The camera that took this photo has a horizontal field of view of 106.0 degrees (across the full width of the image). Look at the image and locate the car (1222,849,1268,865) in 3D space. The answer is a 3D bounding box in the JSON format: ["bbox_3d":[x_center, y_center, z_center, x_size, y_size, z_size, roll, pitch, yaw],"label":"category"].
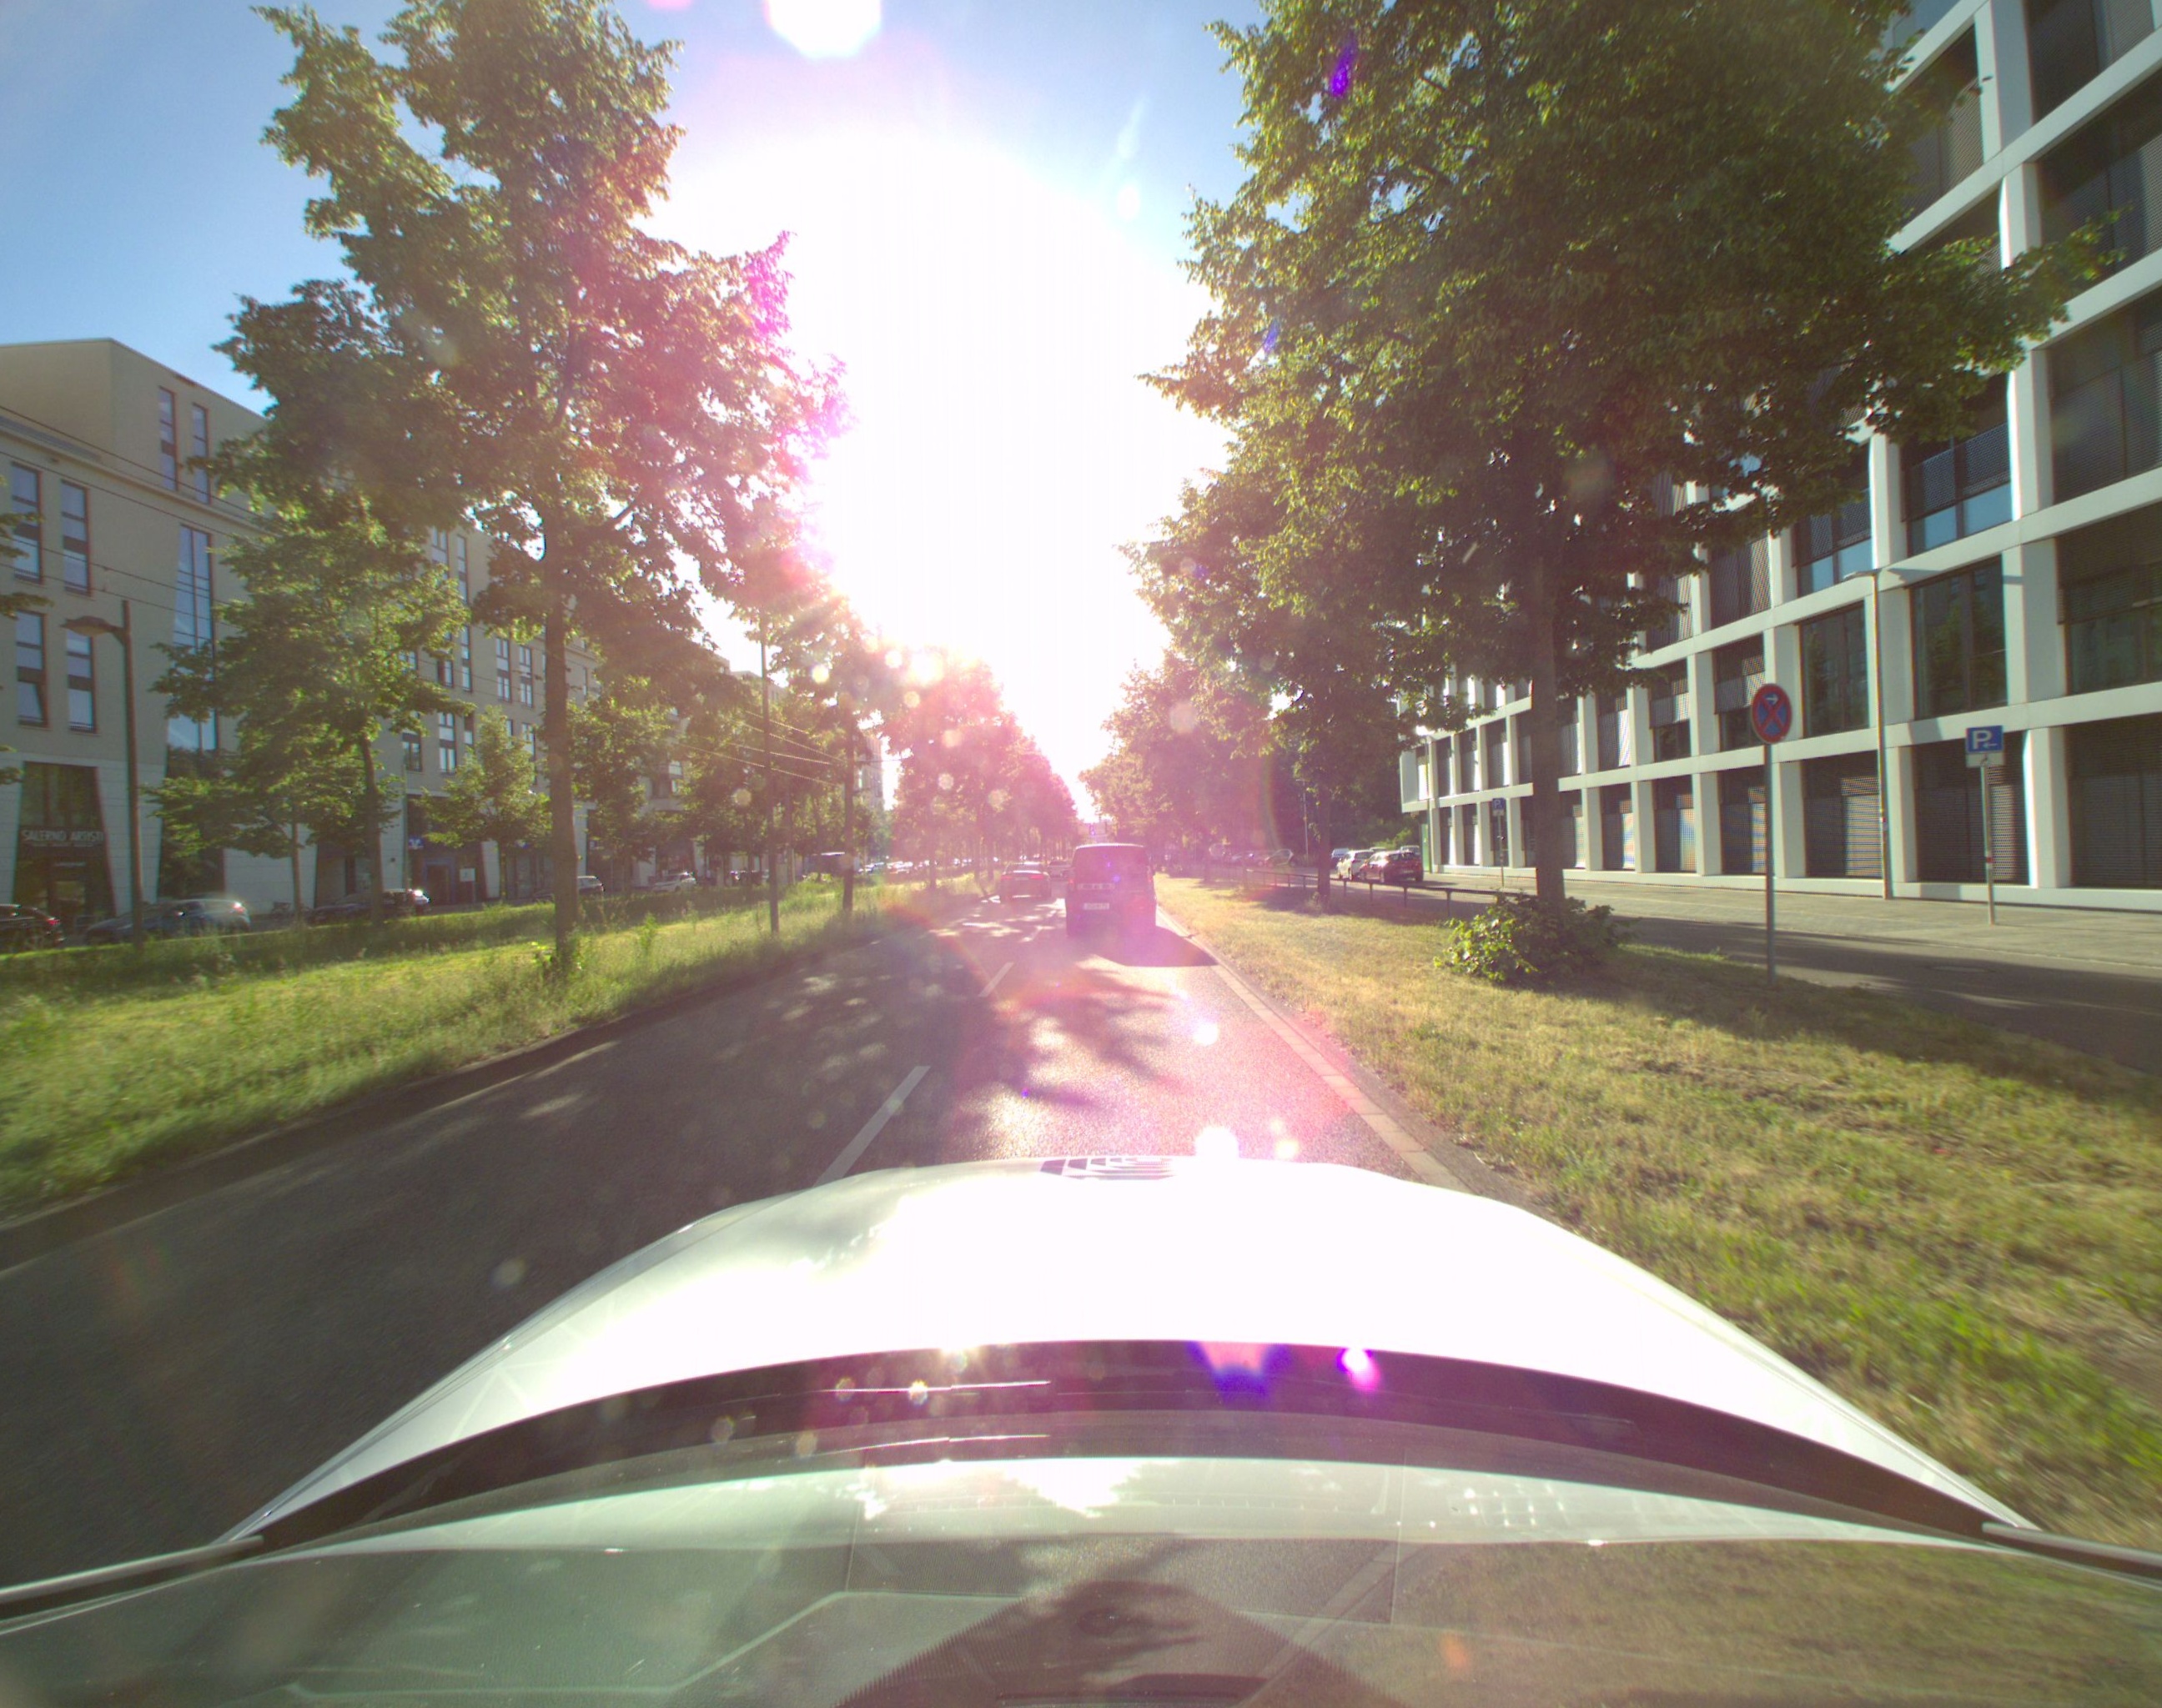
[{"bbox_3d":[18.294,0.351,90.819,4.702,1.406,2.001,-5,0,1],"label":"car"}]

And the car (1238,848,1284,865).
[{"bbox_3d":[18.093,0.278,81.820,4.180,1.498,1.781,-3,0,-2],"label":"car"}]

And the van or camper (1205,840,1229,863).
[{"bbox_3d":[17.869,-0.289,107.484,1.988,2.731,4.961,-5,0,-1],"label":"van or camper"}]

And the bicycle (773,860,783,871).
[{"bbox_3d":[-35.846,1.301,96.277,0.596,1.281,1.608,0,-1,-1],"label":"bicycle"}]

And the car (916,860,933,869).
[{"bbox_3d":[-27.626,1.825,143.769,1.950,1.441,4.267,0,0,2],"label":"car"}]

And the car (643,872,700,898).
[{"bbox_3d":[-30.016,2.238,59.862,1.988,1.729,4.336,0,-1,-1],"label":"car"}]

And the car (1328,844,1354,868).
[{"bbox_3d":[19.802,0.130,61.872,1.579,1.545,3.840,-3,1,21],"label":"car"}]

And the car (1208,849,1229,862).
[{"bbox_3d":[17.117,0.195,101.590,1.986,1.574,4.001,0,-1,1],"label":"car"}]

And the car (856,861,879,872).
[{"bbox_3d":[-28.716,1.689,109.642,1.988,1.441,4.777,0,0,-1],"label":"car"}]

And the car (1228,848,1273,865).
[{"bbox_3d":[18.250,0.251,87.913,4.361,1.411,2.002,-6,0,3],"label":"car"}]

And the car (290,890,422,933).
[{"bbox_3d":[-30.462,2.375,34.423,1.719,1.413,4.334,-2,0,-2],"label":"car"}]

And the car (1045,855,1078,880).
[{"bbox_3d":[-1.297,0.887,55.844,1.986,1.618,4.001,0,-1,2],"label":"car"}]

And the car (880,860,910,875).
[{"bbox_3d":[-18.585,1.352,81.411,1.987,1.441,4.455,0,0,0],"label":"car"}]

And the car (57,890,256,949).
[{"bbox_3d":[-30.683,2.123,27.241,1.986,1.572,4.001,-2,0,2],"label":"car"}]

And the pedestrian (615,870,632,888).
[{"bbox_3d":[-38.417,2.122,68.375,0.946,1.468,1.025,0,-1,-8],"label":"pedestrian"}]

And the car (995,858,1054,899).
[{"bbox_3d":[-2.031,0.876,30.479,1.785,1.428,4.001,0,-1,2],"label":"car"}]

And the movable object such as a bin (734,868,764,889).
[{"bbox_3d":[-29.226,2.122,71.728,1.964,1.794,1.555,0,-1,-1],"label":"movable object such as a bin"}]

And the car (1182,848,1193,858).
[{"bbox_3d":[21.547,-0.230,164.306,2.076,2.013,4.951,-2,0,6],"label":"car"}]

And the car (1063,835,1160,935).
[{"bbox_3d":[0.525,0.588,17.163,1.803,1.838,3.997,0,-1,-1],"label":"car"}]

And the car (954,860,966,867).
[{"bbox_3d":[-28.076,2.155,188.309,1.872,1.621,4.614,0,-1,3],"label":"car"}]

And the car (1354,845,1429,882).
[{"bbox_3d":[14.216,0.439,37.536,1.858,1.486,4.274,-5,-1,2],"label":"car"}]

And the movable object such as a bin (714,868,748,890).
[{"bbox_3d":[-29.168,2.090,67.867,1.965,1.794,2.009,0,-1,-1],"label":"movable object such as a bin"}]

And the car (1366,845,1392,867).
[{"bbox_3d":[22.501,0.155,61.483,1.732,1.536,3.901,-1,-1,20],"label":"car"}]

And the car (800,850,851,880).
[{"bbox_3d":[-21.135,0.899,67.704,2.498,2.381,6.025,0,-1,-1],"label":"car"}]

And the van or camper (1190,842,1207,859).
[{"bbox_3d":[20.457,-0.666,142.511,2.543,2.684,6.576,-4,0,6],"label":"van or camper"}]

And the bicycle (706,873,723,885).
[{"bbox_3d":[-36.374,2.479,80.899,0.865,1.137,2.370,0,-1,-8],"label":"bicycle"}]

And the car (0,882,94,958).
[{"bbox_3d":[-30.680,1.875,22.180,1.988,2.013,4.552,-2,0,-1],"label":"car"}]

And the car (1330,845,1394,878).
[{"bbox_3d":[14.604,0.372,42.550,1.985,1.486,4.407,-5,-1,4],"label":"car"}]

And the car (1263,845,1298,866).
[{"bbox_3d":[16.845,0.140,68.800,2.749,1.550,1.466,-3,-1,10],"label":"car"}]

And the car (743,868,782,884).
[{"bbox_3d":[-29.404,2.026,75.309,1.988,1.441,4.018,0,-1,-1],"label":"car"}]

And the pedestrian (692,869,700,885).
[{"bbox_3d":[-38.211,2.261,80.843,0.496,1.549,0.525,-1,-1,43],"label":"pedestrian"}]

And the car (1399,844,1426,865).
[{"bbox_3d":[24.667,0.050,60.697,1.703,1.540,3.970,-1,-1,20],"label":"car"}]

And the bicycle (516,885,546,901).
[{"bbox_3d":[-37.136,2.604,55.027,0.614,0.988,1.851,0,-1,7],"label":"bicycle"}]

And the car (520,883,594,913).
[{"bbox_3d":[-30.032,2.498,46.866,1.554,1.480,4.268,-2,0,-2],"label":"car"}]

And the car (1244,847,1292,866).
[{"bbox_3d":[17.539,0.249,76.481,4.064,1.468,1.716,-4,-1,2],"label":"car"}]

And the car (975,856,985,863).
[{"bbox_3d":[-26.138,1.424,211.099,1.985,1.608,4.614,0,-1,3],"label":"car"}]

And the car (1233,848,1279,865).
[{"bbox_3d":[18.320,0.270,85.345,4.318,1.477,1.905,-4,1,-3],"label":"car"}]
